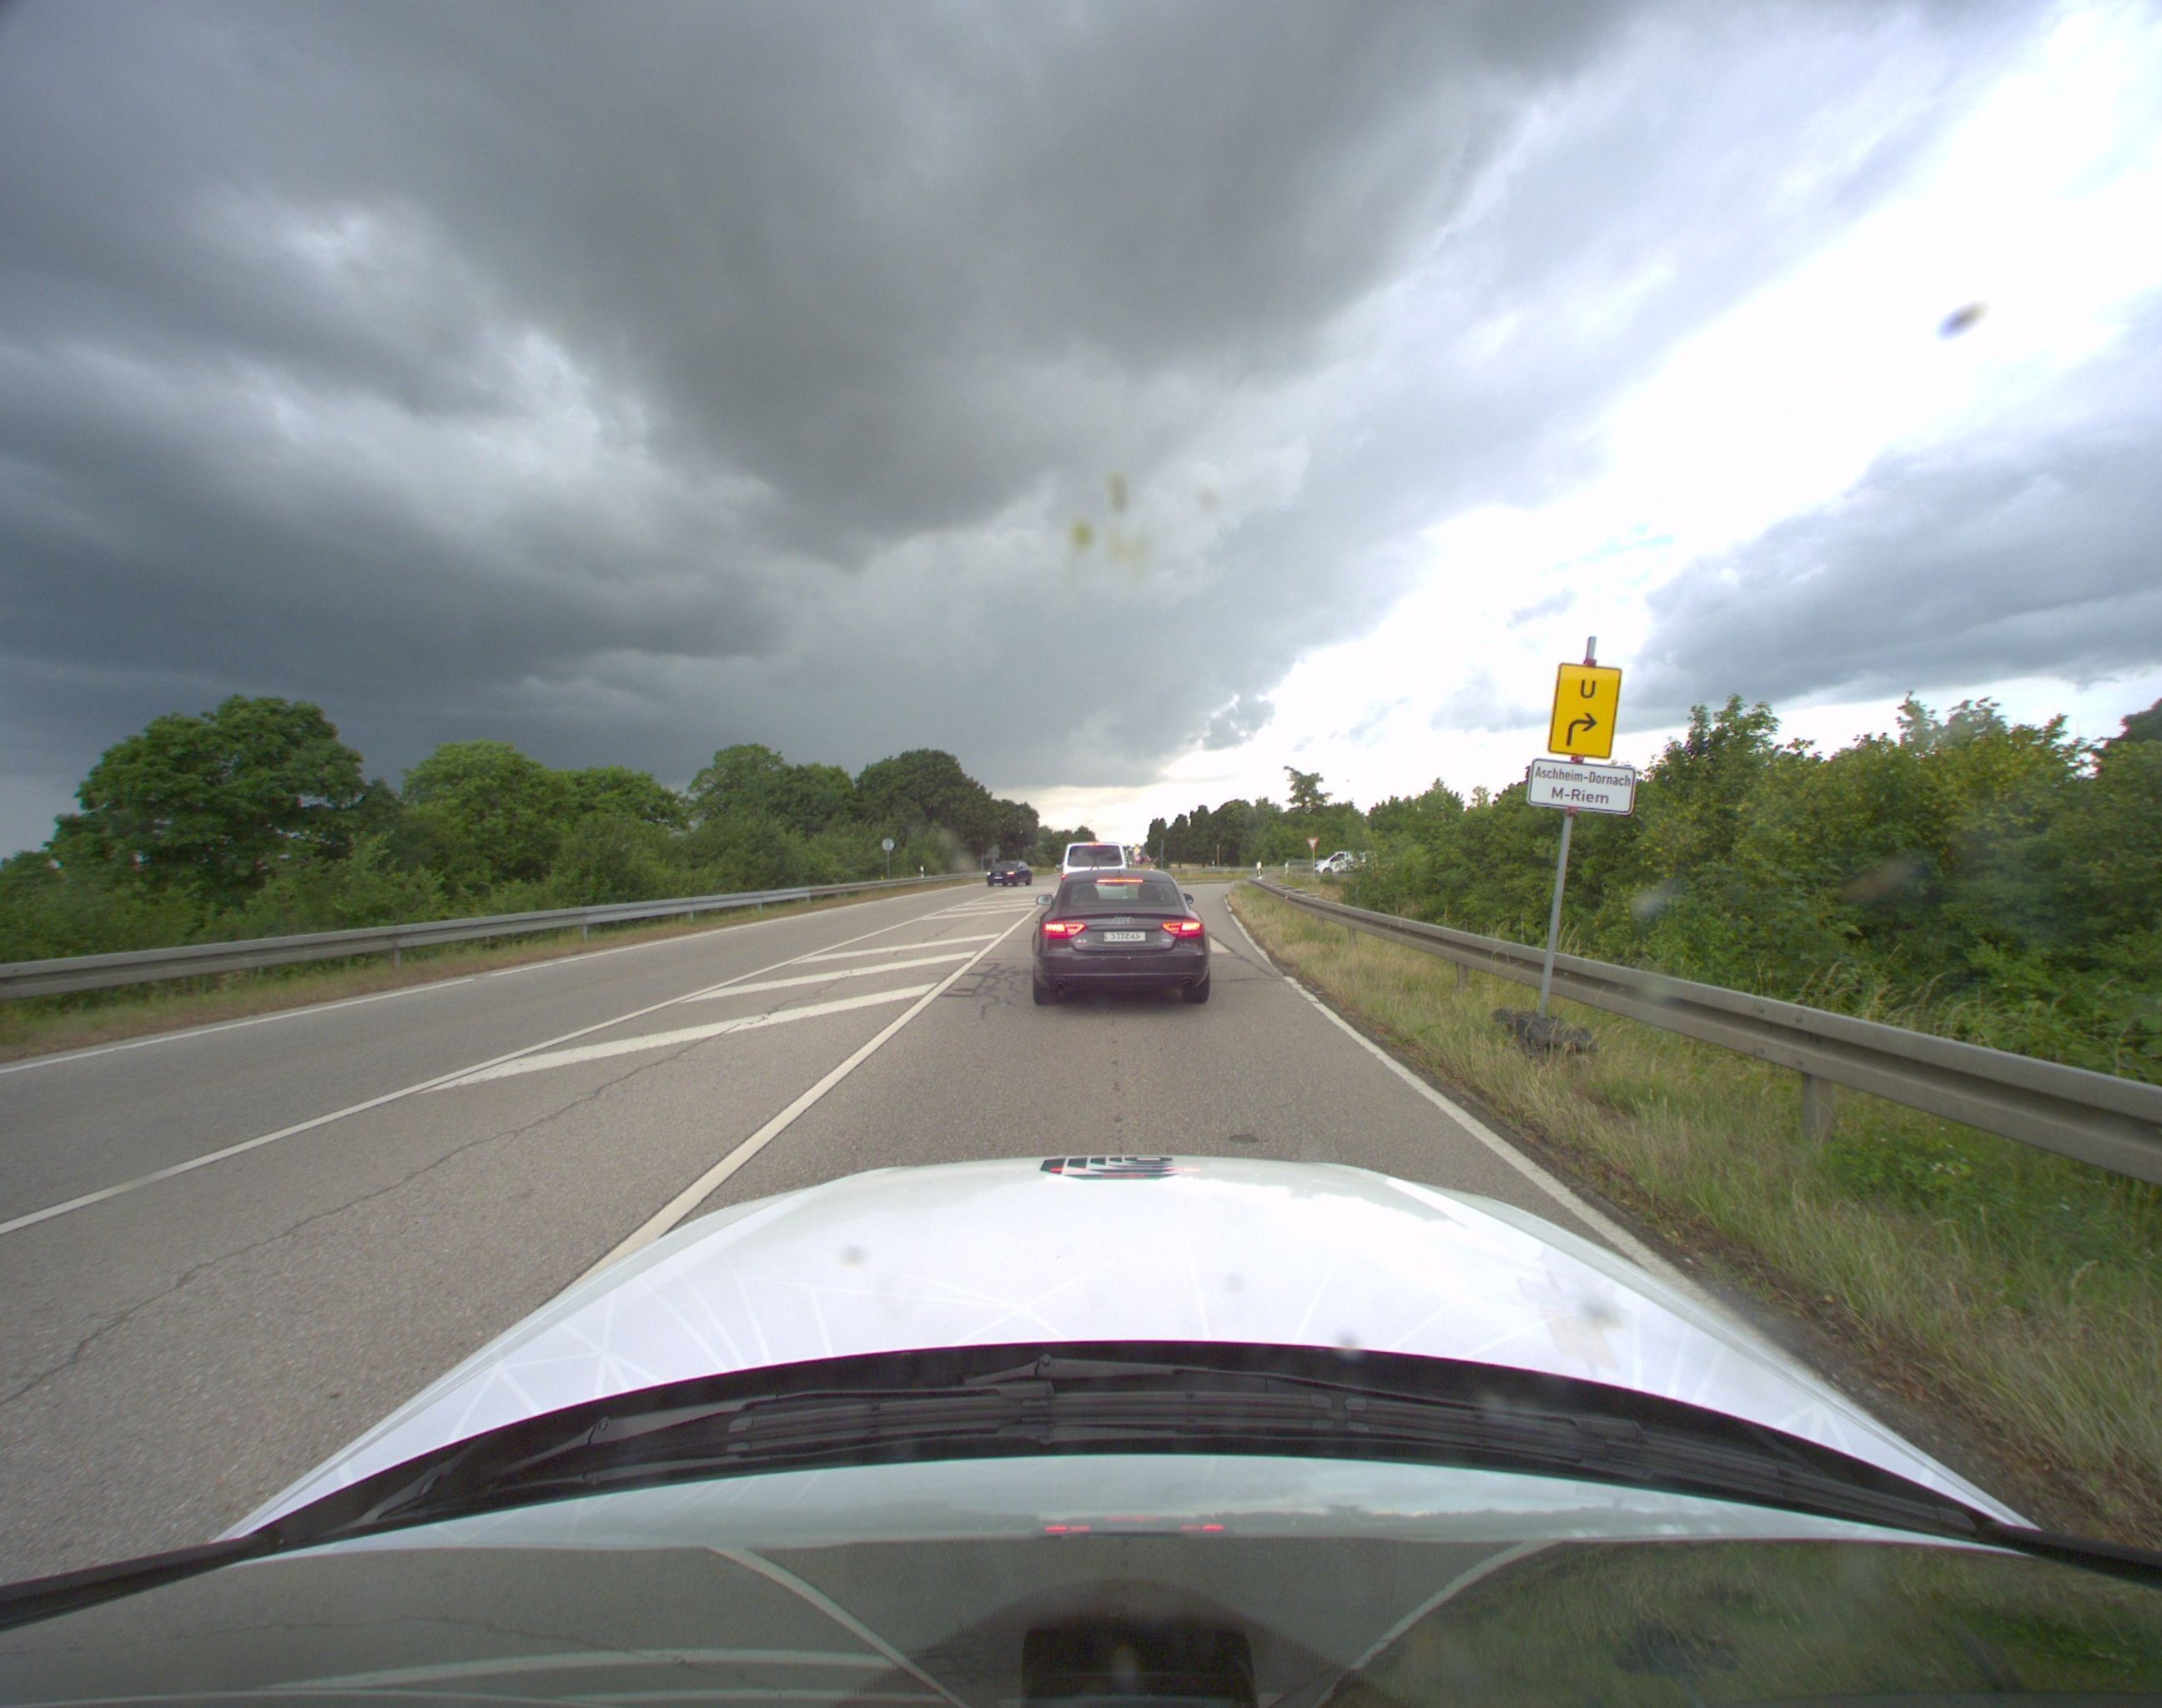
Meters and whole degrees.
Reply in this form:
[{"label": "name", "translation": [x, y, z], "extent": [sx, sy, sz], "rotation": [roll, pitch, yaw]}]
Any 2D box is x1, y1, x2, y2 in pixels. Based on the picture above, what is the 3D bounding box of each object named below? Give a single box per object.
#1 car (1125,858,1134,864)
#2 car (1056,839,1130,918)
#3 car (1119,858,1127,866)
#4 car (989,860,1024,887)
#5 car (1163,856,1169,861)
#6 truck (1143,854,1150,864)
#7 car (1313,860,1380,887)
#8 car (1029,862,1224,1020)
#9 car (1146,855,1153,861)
[{"label": "car", "translation": [13.562, 1.927, 226.858], "extent": [2.198, 1.582, 4.379], "rotation": [0, 0, 0]}, {"label": "car", "translation": [0.348, 0.633, 23.173], "extent": [1.904, 2.013, 4.000], "rotation": [0, 0, 1]}, {"label": "car", "translation": [10.836, 2.089, 208.117], "extent": [1.985, 2.013, 4.003], "rotation": [0, 0, 3]}, {"label": "car", "translation": [-4.551, 1.175, 50.489], "extent": [1.704, 1.518, 4.210], "rotation": [0, 0, 1]}, {"label": "car", "translation": [25.004, 1.307, 239.029], "extent": [1.865, 1.692, 4.008], "rotation": [-1, 0, 7]}, {"label": "truck", "translation": [18.373, 1.344, 228.045], "extent": [1.985, 2.918, 5.799], "rotation": [-1, 0, 4]}, {"label": "car", "translation": [21.200, 1.549, 65.216], "extent": [4.832, 2.064, 2.093], "rotation": [0, 0, 8]}, {"label": "car", "translation": [0.431, 0.817, 9.143], "extent": [1.774, 1.398, 3.336], "rotation": [-1, 0, 0]}, {"label": "car", "translation": [20.667, 1.213, 246.134], "extent": [1.985, 1.692, 4.004], "rotation": [0, 0, 3]}]
